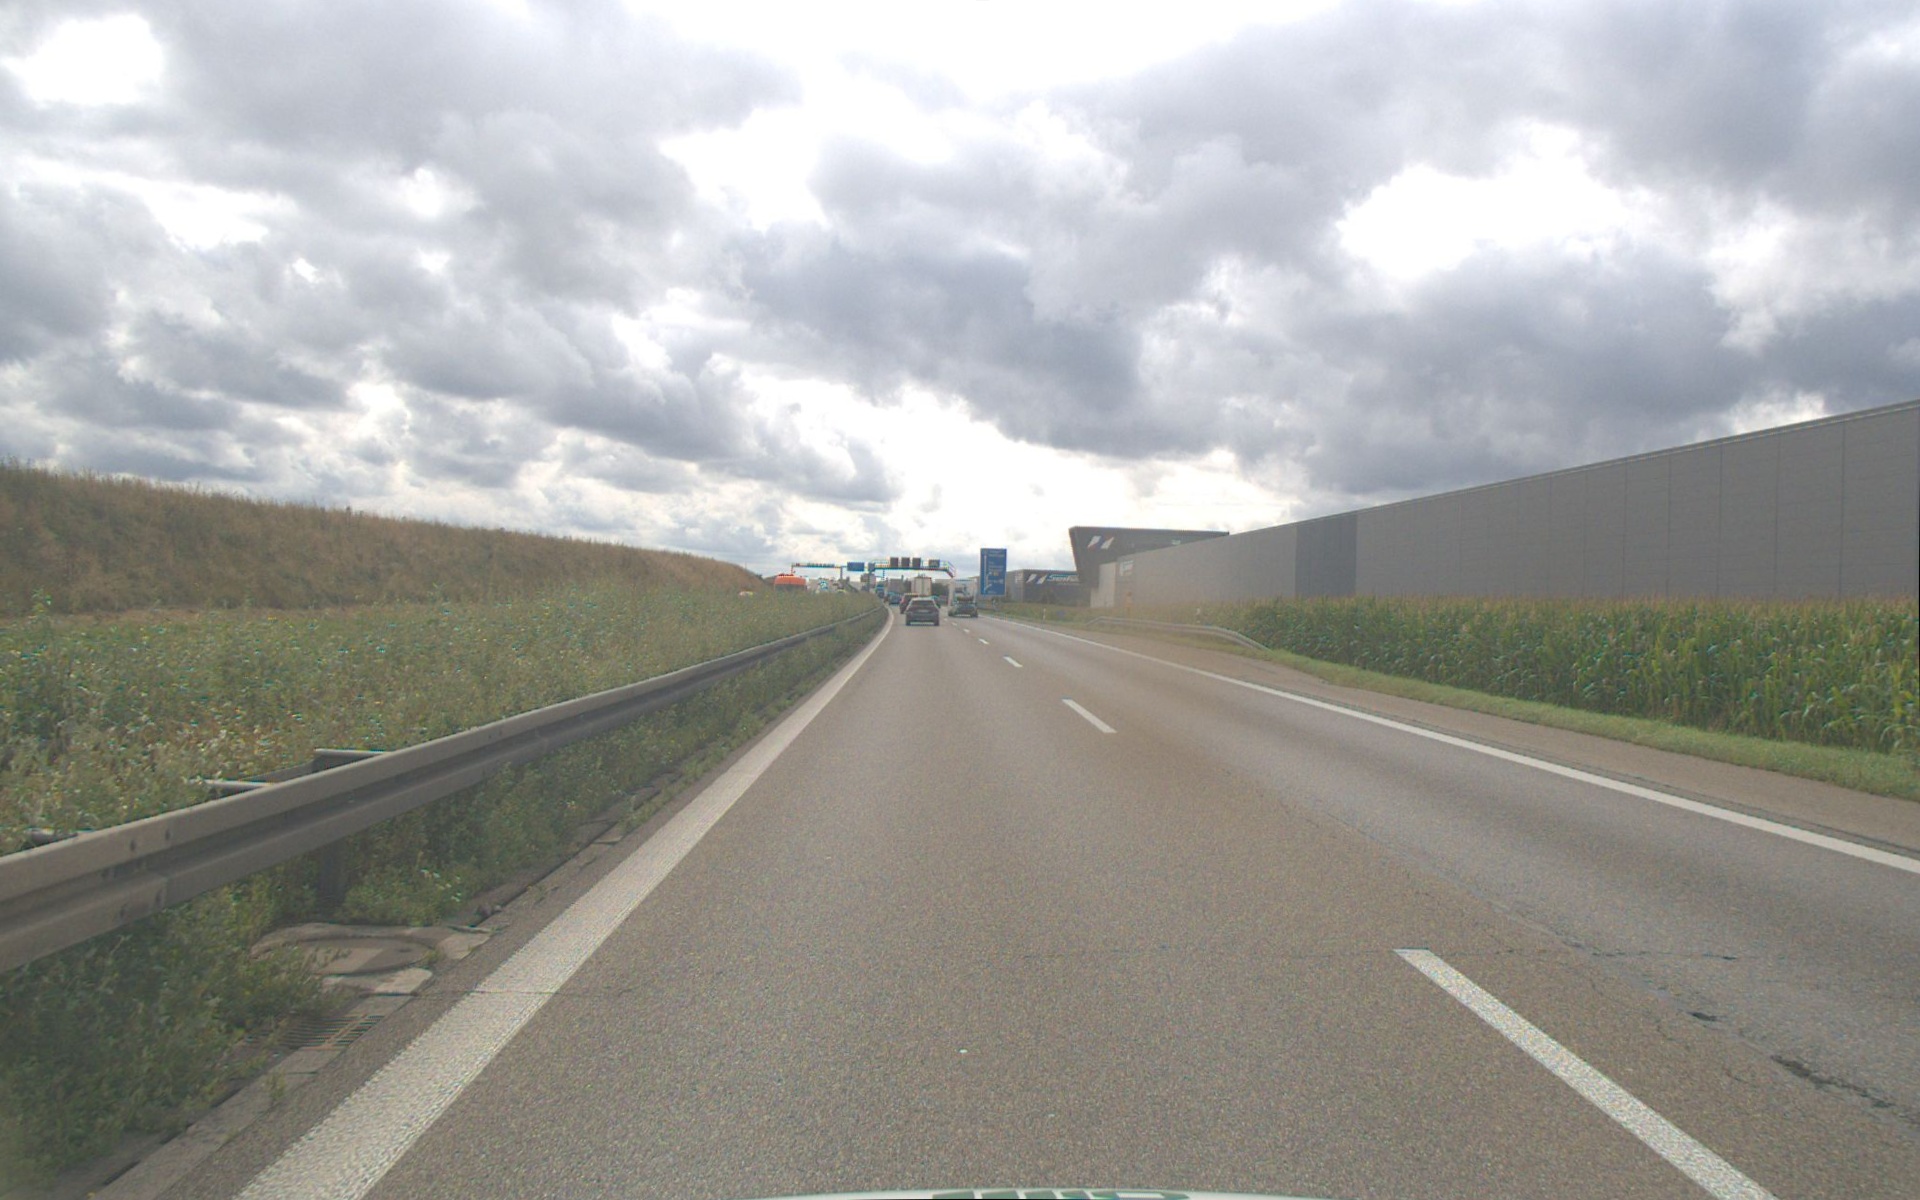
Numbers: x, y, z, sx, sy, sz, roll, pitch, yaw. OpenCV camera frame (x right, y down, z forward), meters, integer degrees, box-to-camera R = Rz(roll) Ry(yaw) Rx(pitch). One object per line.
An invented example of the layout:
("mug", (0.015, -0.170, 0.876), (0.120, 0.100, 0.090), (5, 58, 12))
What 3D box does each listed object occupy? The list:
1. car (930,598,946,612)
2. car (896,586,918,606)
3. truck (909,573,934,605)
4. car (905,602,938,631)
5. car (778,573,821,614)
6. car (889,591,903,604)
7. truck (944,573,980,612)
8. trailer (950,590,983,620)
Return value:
("car", (-2.716, 0.605, 201.946), (1.765, 1.714, 3.998), (1, 0, -2))
("car", (-4.718, -0.363, 147.768), (1.906, 1.714, 3.998), (1, 0, -2))
("truck", (-5.856, -1.593, 249.050), (3.273, 4.613, 8.010), (1, 0, -4))
("car", (-2.077, 0.854, 88.102), (1.711, 1.478, 3.998), (1, 0, -2))
("car", (-9.424, -0.338, 97.629), (2.081, 2.306, 5.451), (1, 0, -1))
("car", (-8.917, -0.336, 229.555), (1.904, 1.806, 3.694), (1, 0, -2))
("truck", (0.150, -0.559, 131.641), (2.433, 3.002, 5.810), (1, 0, -4))
("trailer", (0.491, 0.368, 124.754), (2.291, 2.174, 3.998), (1, 0, -2))
